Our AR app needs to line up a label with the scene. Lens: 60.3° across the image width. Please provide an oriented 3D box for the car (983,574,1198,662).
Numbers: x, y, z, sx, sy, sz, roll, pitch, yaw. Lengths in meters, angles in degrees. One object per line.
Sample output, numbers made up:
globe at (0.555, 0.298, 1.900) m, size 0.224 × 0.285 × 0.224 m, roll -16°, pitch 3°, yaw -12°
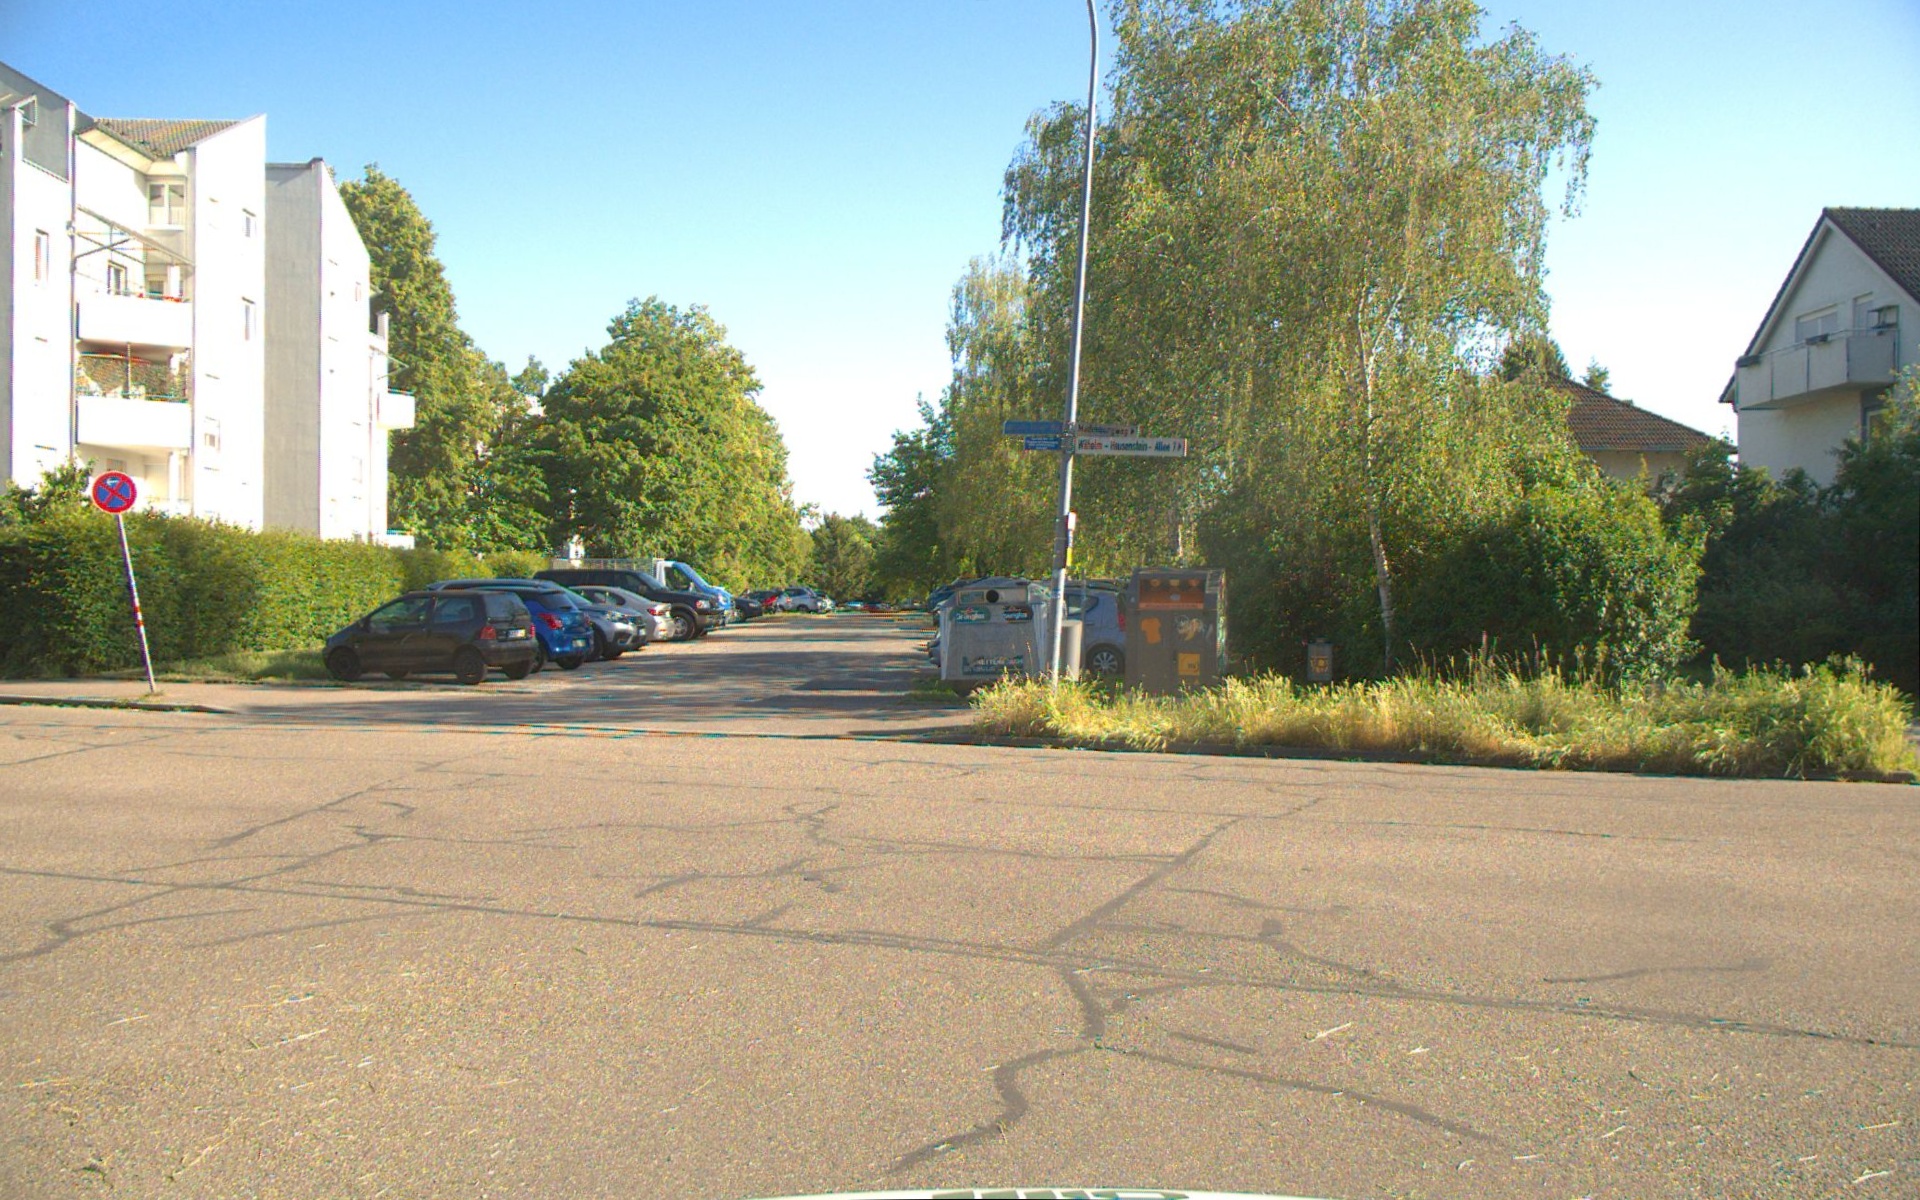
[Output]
car at (2.542, 0.342, 32.797) m, size 3.975 × 1.631 × 1.789 m, roll 1°, pitch 2°, yaw -7°

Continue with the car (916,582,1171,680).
car at (1.411, 0.485, 27.295) m, size 3.966 × 1.464 × 1.636 m, roll 1°, pitch 0°, yaw 12°

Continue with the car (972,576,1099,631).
car at (2.358, 0.108, 51.917) m, size 3.904 × 1.613 × 1.798 m, roll 1°, pitch 0°, yaw 2°

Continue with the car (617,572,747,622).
car at (-10.181, -0.112, 60.796) m, size 4.429 × 1.802 × 1.847 m, roll 0°, pitch 0°, yaw 0°

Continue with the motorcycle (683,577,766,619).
motorcycle at (-9.241, -0.097, 64.994) m, size 3.125 × 1.624 × 0.923 m, roll 0°, pitch 0°, yaw 0°

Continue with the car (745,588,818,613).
car at (-9.826, 0.039, 91.383) m, size 3.860 × 1.357 × 1.846 m, roll 0°, pitch 0°, yaw -2°

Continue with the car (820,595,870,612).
car at (-8.353, 0.248, 120.529) m, size 3.571 × 1.234 × 1.846 m, roll 0°, pitch 0°, yaw -2°

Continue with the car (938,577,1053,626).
car at (1.249, 0.055, 57.564) m, size 3.904 × 1.613 × 1.798 m, roll 1°, pitch 0°, yaw 2°

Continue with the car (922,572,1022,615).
car at (0.508, -0.251, 66.065) m, size 3.904 × 1.613 × 1.798 m, roll 1°, pitch 0°, yaw 2°

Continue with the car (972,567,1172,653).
car at (2.382, 0.204, 35.755) m, size 4.026 × 1.735 × 1.788 m, roll 1°, pitch 2°, yaw -8°

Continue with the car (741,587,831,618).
car at (-7.740, 0.111, 73.992) m, size 3.860 × 1.357 × 1.846 m, roll 0°, pitch 0°, yaw -2°

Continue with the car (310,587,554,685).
car at (-8.645, 0.555, 27.143) m, size 3.447 × 1.492 × 1.705 m, roll 1°, pitch 1°, yaw 16°

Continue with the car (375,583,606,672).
car at (-8.389, 0.483, 29.656) m, size 3.601 × 1.522 × 1.653 m, roll -1°, pitch 1°, yaw 12°

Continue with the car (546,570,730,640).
car at (-8.440, 0.121, 43.585) m, size 4.427 × 1.802 × 1.848 m, roll 0°, pitch 0°, yaw 4°

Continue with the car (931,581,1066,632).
car at (1.149, 0.187, 48.816) m, size 3.904 × 1.425 × 1.798 m, roll 1°, pitch 0°, yaw 2°

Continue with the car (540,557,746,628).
car at (-9.954, -0.248, 52.409) m, size 6.131 × 2.184 × 2.409 m, roll 0°, pitch 0°, yaw -3°

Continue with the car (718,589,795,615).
car at (-10.803, 0.079, 87.996) m, size 3.860 × 1.357 × 1.846 m, roll 0°, pitch 0°, yaw -2°

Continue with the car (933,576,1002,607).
car at (0.446, -0.475, 94.624) m, size 3.904 × 1.738 × 1.798 m, roll 1°, pitch 0°, yaw 2°

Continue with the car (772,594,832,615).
car at (-10.642, 0.289, 111.433) m, size 3.860 × 1.357 × 1.846 m, roll 0°, pitch 0°, yaw -2°

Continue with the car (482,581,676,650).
car at (-8.619, 0.341, 37.653) m, size 4.061 × 1.480 × 1.618 m, roll -1°, pitch 0°, yaw -3°

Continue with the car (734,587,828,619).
car at (-7.616, 0.126, 70.783) m, size 3.860 × 1.357 × 1.846 m, roll 0°, pitch 0°, yaw -2°

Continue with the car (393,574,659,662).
car at (-8.763, 0.349, 33.590) m, size 4.886 × 1.683 × 1.785 m, roll -1°, pitch 1°, yaw 4°
